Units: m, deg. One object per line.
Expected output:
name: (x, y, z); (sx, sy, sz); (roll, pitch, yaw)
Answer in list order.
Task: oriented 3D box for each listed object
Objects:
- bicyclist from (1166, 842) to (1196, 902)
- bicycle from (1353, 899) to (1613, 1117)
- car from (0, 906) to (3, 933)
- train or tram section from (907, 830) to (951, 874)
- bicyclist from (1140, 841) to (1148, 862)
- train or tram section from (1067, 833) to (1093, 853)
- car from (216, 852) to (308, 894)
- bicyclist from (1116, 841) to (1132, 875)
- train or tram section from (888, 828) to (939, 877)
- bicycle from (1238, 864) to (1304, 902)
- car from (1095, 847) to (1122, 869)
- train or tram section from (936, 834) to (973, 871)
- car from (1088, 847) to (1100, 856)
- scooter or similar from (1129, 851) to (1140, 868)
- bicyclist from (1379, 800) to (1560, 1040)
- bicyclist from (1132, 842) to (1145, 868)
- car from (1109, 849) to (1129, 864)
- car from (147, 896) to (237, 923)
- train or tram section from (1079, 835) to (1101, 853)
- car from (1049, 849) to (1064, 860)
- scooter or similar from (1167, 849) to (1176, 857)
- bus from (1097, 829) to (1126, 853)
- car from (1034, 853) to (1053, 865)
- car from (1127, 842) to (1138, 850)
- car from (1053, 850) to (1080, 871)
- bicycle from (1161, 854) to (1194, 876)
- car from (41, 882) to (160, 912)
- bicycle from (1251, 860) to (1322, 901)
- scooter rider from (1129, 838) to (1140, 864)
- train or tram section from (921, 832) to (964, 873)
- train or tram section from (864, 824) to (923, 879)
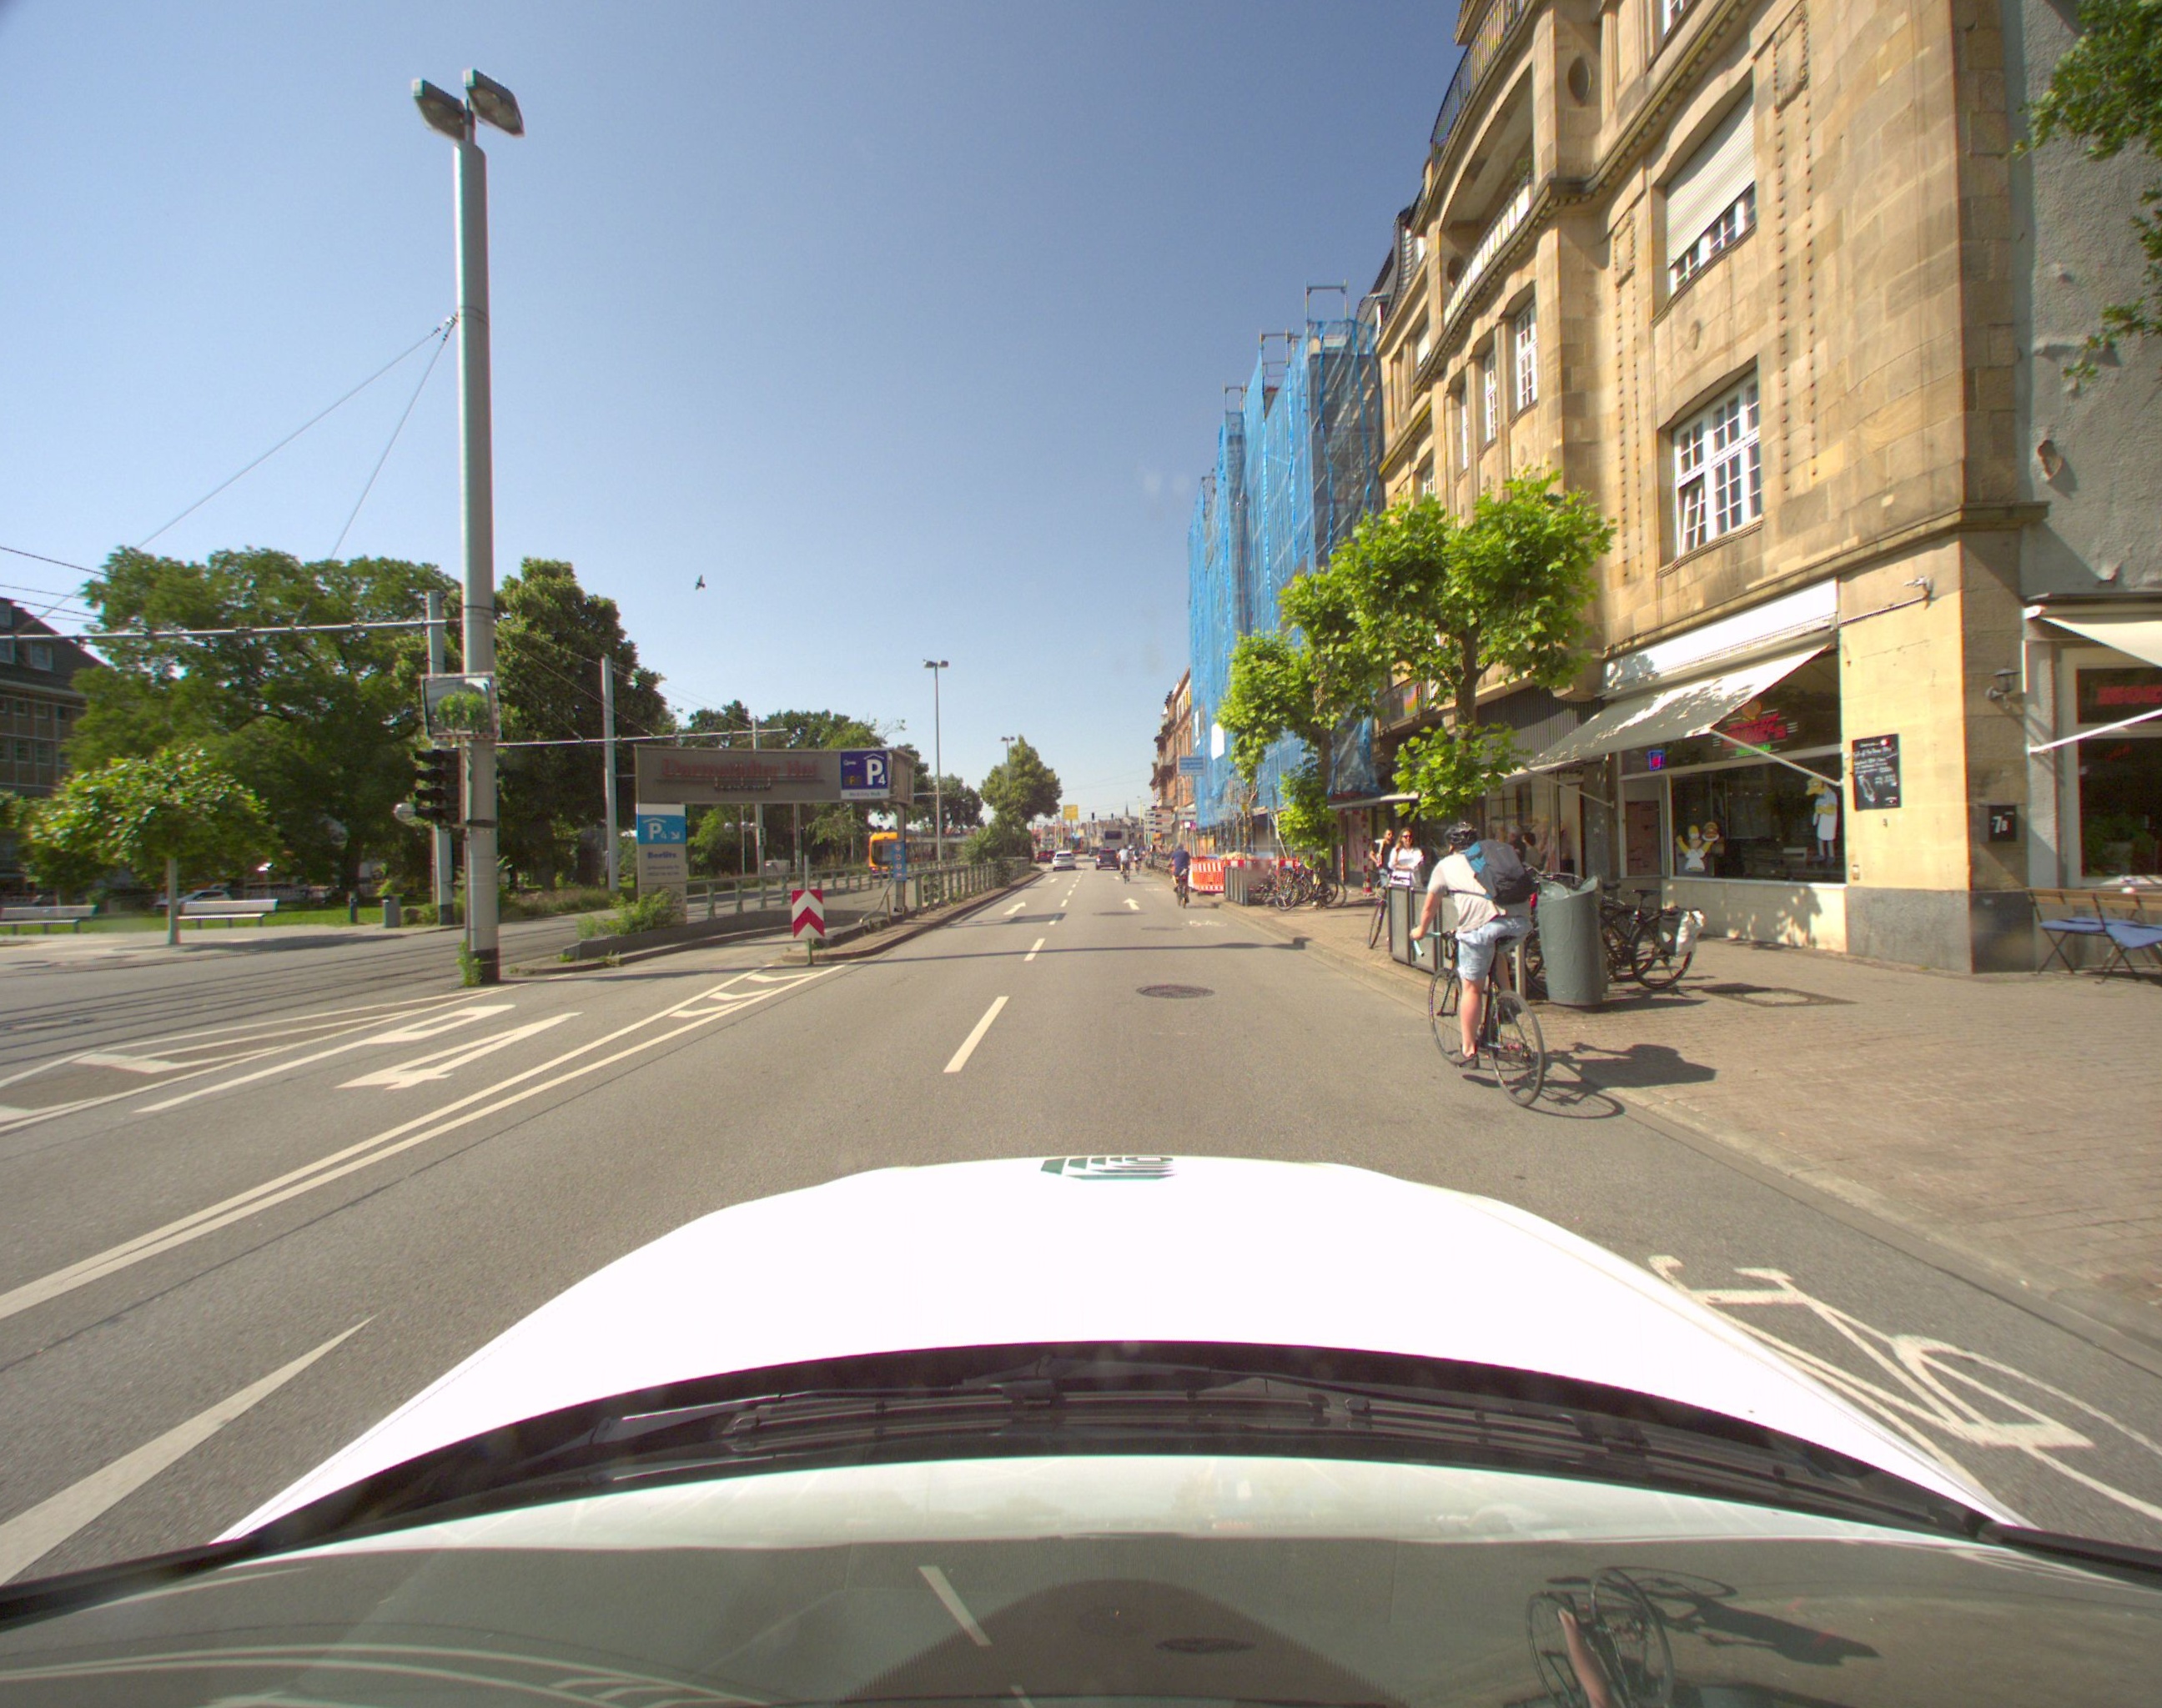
bicyclist: (2.736, 0.478, 22.379); (0.686, 1.616, 0.918); (1, 0, 0)
bicycle: (2.594, 0.916, 5.591); (0.732, 1.093, 2.130); (1, 0, 0)
car: (-61.218, 3.669, 43.615); (1.752, 1.508, 3.993); (1, 0, -5)
train or tram section: (-12.776, -0.152, 68.815); (2.604, 3.581, 5.358); (1, 0, 1)
bicyclist: (5.935, -0.208, 77.065); (0.686, 1.962, 0.778); (1, 0, 0)
train or tram section: (-0.141, -2.008, 154.099); (2.803, 3.581, 10.066); (0, 0, 12)
car: (-67.952, 1.541, 67.723); (2.119, 3.316, 5.420); (1, 0, 1)
bicyclist: (2.033, 0.194, 38.624); (0.686, 1.576, 1.049); (1, 0, 0)
train or tram section: (-12.870, -0.123, 63.075); (2.604, 3.581, 6.104); (1, 0, 1)
bicycle: (5.325, 0.806, 22.878); (1.747, 1.018, 0.482); (-1, 0, -1)
car: (2.047, 0.243, 60.180); (1.866, 1.492, 4.002); (-2, 0, 2)
train or tram section: (-12.564, -0.146, 81.420); (2.604, 3.581, 6.018); (1, 0, 1)
car: (1.931, -0.387, 118.431); (1.444, 1.300, 3.348); (1, 0, 6)
scooter or similar: (3.588, 0.359, 54.723); (0.686, 1.167, 1.464); (1, 0, 0)
bicyclist: (2.594, 0.406, 5.561); (0.686, 1.463, 1.143); (1, 0, 0)
bicyclist: (3.549, 0.086, 50.388); (0.686, 1.576, 1.049); (1, 0, 0)
car: (3.986, 0.255, 85.298); (1.986, 1.492, 4.002); (1, 0, 2)
car: (-58.999, 3.687, 54.178); (1.752, 1.508, 3.993); (1, 0, -5)
train or tram section: (1.851, -1.991, 163.025); (2.803, 3.581, 8.254); (0, 0, 12)
car: (-2.955, 0.061, 98.926); (1.446, 1.300, 4.002); (1, 0, 2)
scooter or similar: (8.537, -0.071, 76.996); (0.689, 0.650, 0.565); (-5, -1, 0)
bus: (3.732, -1.566, 102.507); (2.961, 2.776, 8.634); (1, 0, -2)
car: (-4.091, 0.524, 89.509); (1.808, 1.332, 4.002); (1, 0, 2)
car: (11.422, -1.772, 180.309); (1.982, 1.878, 4.009); (-2, 0, 8)
car: (-1.100, 0.488, 62.548); (1.851, 1.507, 4.002); (1, 0, 2)
bicycle: (5.192, 0.584, 43.764); (1.687, 1.178, 0.609); (0, 0, 1)
car: (-61.187, 2.649, 50.967); (1.752, 1.663, 4.836); (1, 0, -5)
bicycle: (5.387, 0.696, 21.387); (1.747, 1.018, 0.482); (-1, 0, -1)
scooter rider: (3.612, -0.229, 54.763); (0.686, 1.729, 0.778); (1, 0, 0)
train or tram section: (-12.666, -0.173, 74.954); (2.604, 3.581, 6.899); (1, 0, 1)
train or tram section: (-12.996, -0.169, 56.987); (2.604, 3.581, 6.104); (1, 0, 1)
